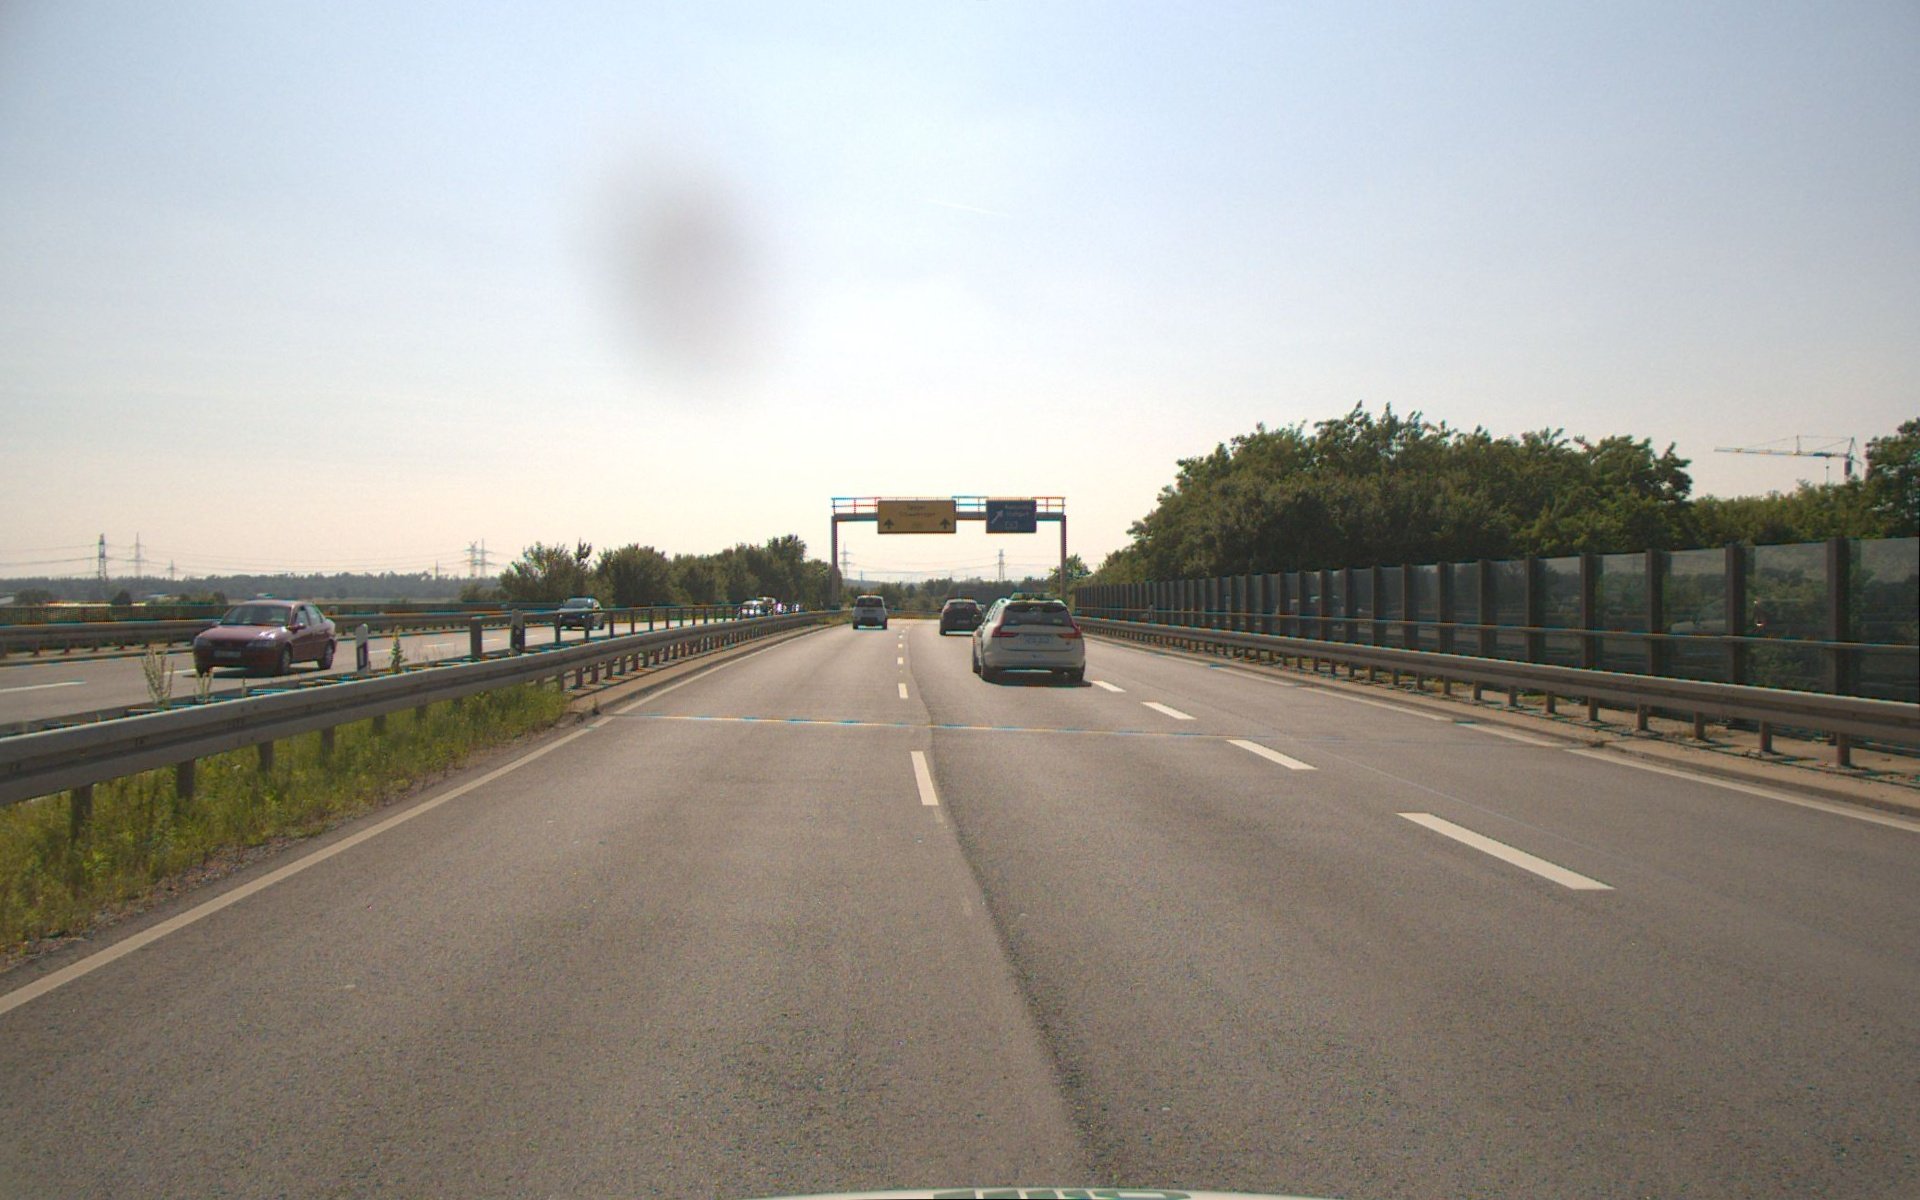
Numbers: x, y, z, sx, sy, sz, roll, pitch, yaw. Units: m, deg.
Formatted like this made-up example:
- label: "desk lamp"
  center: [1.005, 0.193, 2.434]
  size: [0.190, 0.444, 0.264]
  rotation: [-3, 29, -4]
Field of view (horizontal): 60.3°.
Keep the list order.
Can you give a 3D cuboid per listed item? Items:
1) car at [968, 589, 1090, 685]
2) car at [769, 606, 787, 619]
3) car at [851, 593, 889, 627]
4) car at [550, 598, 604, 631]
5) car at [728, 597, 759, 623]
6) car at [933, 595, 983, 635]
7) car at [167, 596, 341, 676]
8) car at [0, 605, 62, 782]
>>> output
- label: "car"
  center: [1.210, 0.633, 30.805]
  size: [1.919, 1.629, 4.105]
  rotation: [1, 0, -2]
- label: "car"
  center: [-18.660, 1.303, 169.699]
  size: [1.534, 1.292, 3.714]
  rotation: [1, 0, -3]
- label: "car"
  center: [-4.269, 0.479, 78.786]
  size: [1.757, 1.529, 4.041]
  rotation: [0, -1, -2]
- label: "car"
  center: [-17.792, 0.656, 77.008]
  size: [1.744, 1.408, 3.998]
  rotation: [1, 0, -3]
- label: "car"
  center: [-12.570, 0.576, 96.244]
  size: [1.521, 1.441, 3.666]
  rotation: [1, 0, -4]
- label: "car"
  center: [-0.110, 0.602, 66.887]
  size: [1.758, 1.570, 3.668]
  rotation: [1, -1, -4]
- label: "car"
  center: [-13.969, 0.662, 33.024]
  size: [1.789, 1.453, 4.528]
  rotation: [1, 0, -4]
- label: "car"
  center: [-8.909, 0.785, 12.633]
  size: [1.836, 1.463, 4.499]
  rotation: [1, 0, -4]
